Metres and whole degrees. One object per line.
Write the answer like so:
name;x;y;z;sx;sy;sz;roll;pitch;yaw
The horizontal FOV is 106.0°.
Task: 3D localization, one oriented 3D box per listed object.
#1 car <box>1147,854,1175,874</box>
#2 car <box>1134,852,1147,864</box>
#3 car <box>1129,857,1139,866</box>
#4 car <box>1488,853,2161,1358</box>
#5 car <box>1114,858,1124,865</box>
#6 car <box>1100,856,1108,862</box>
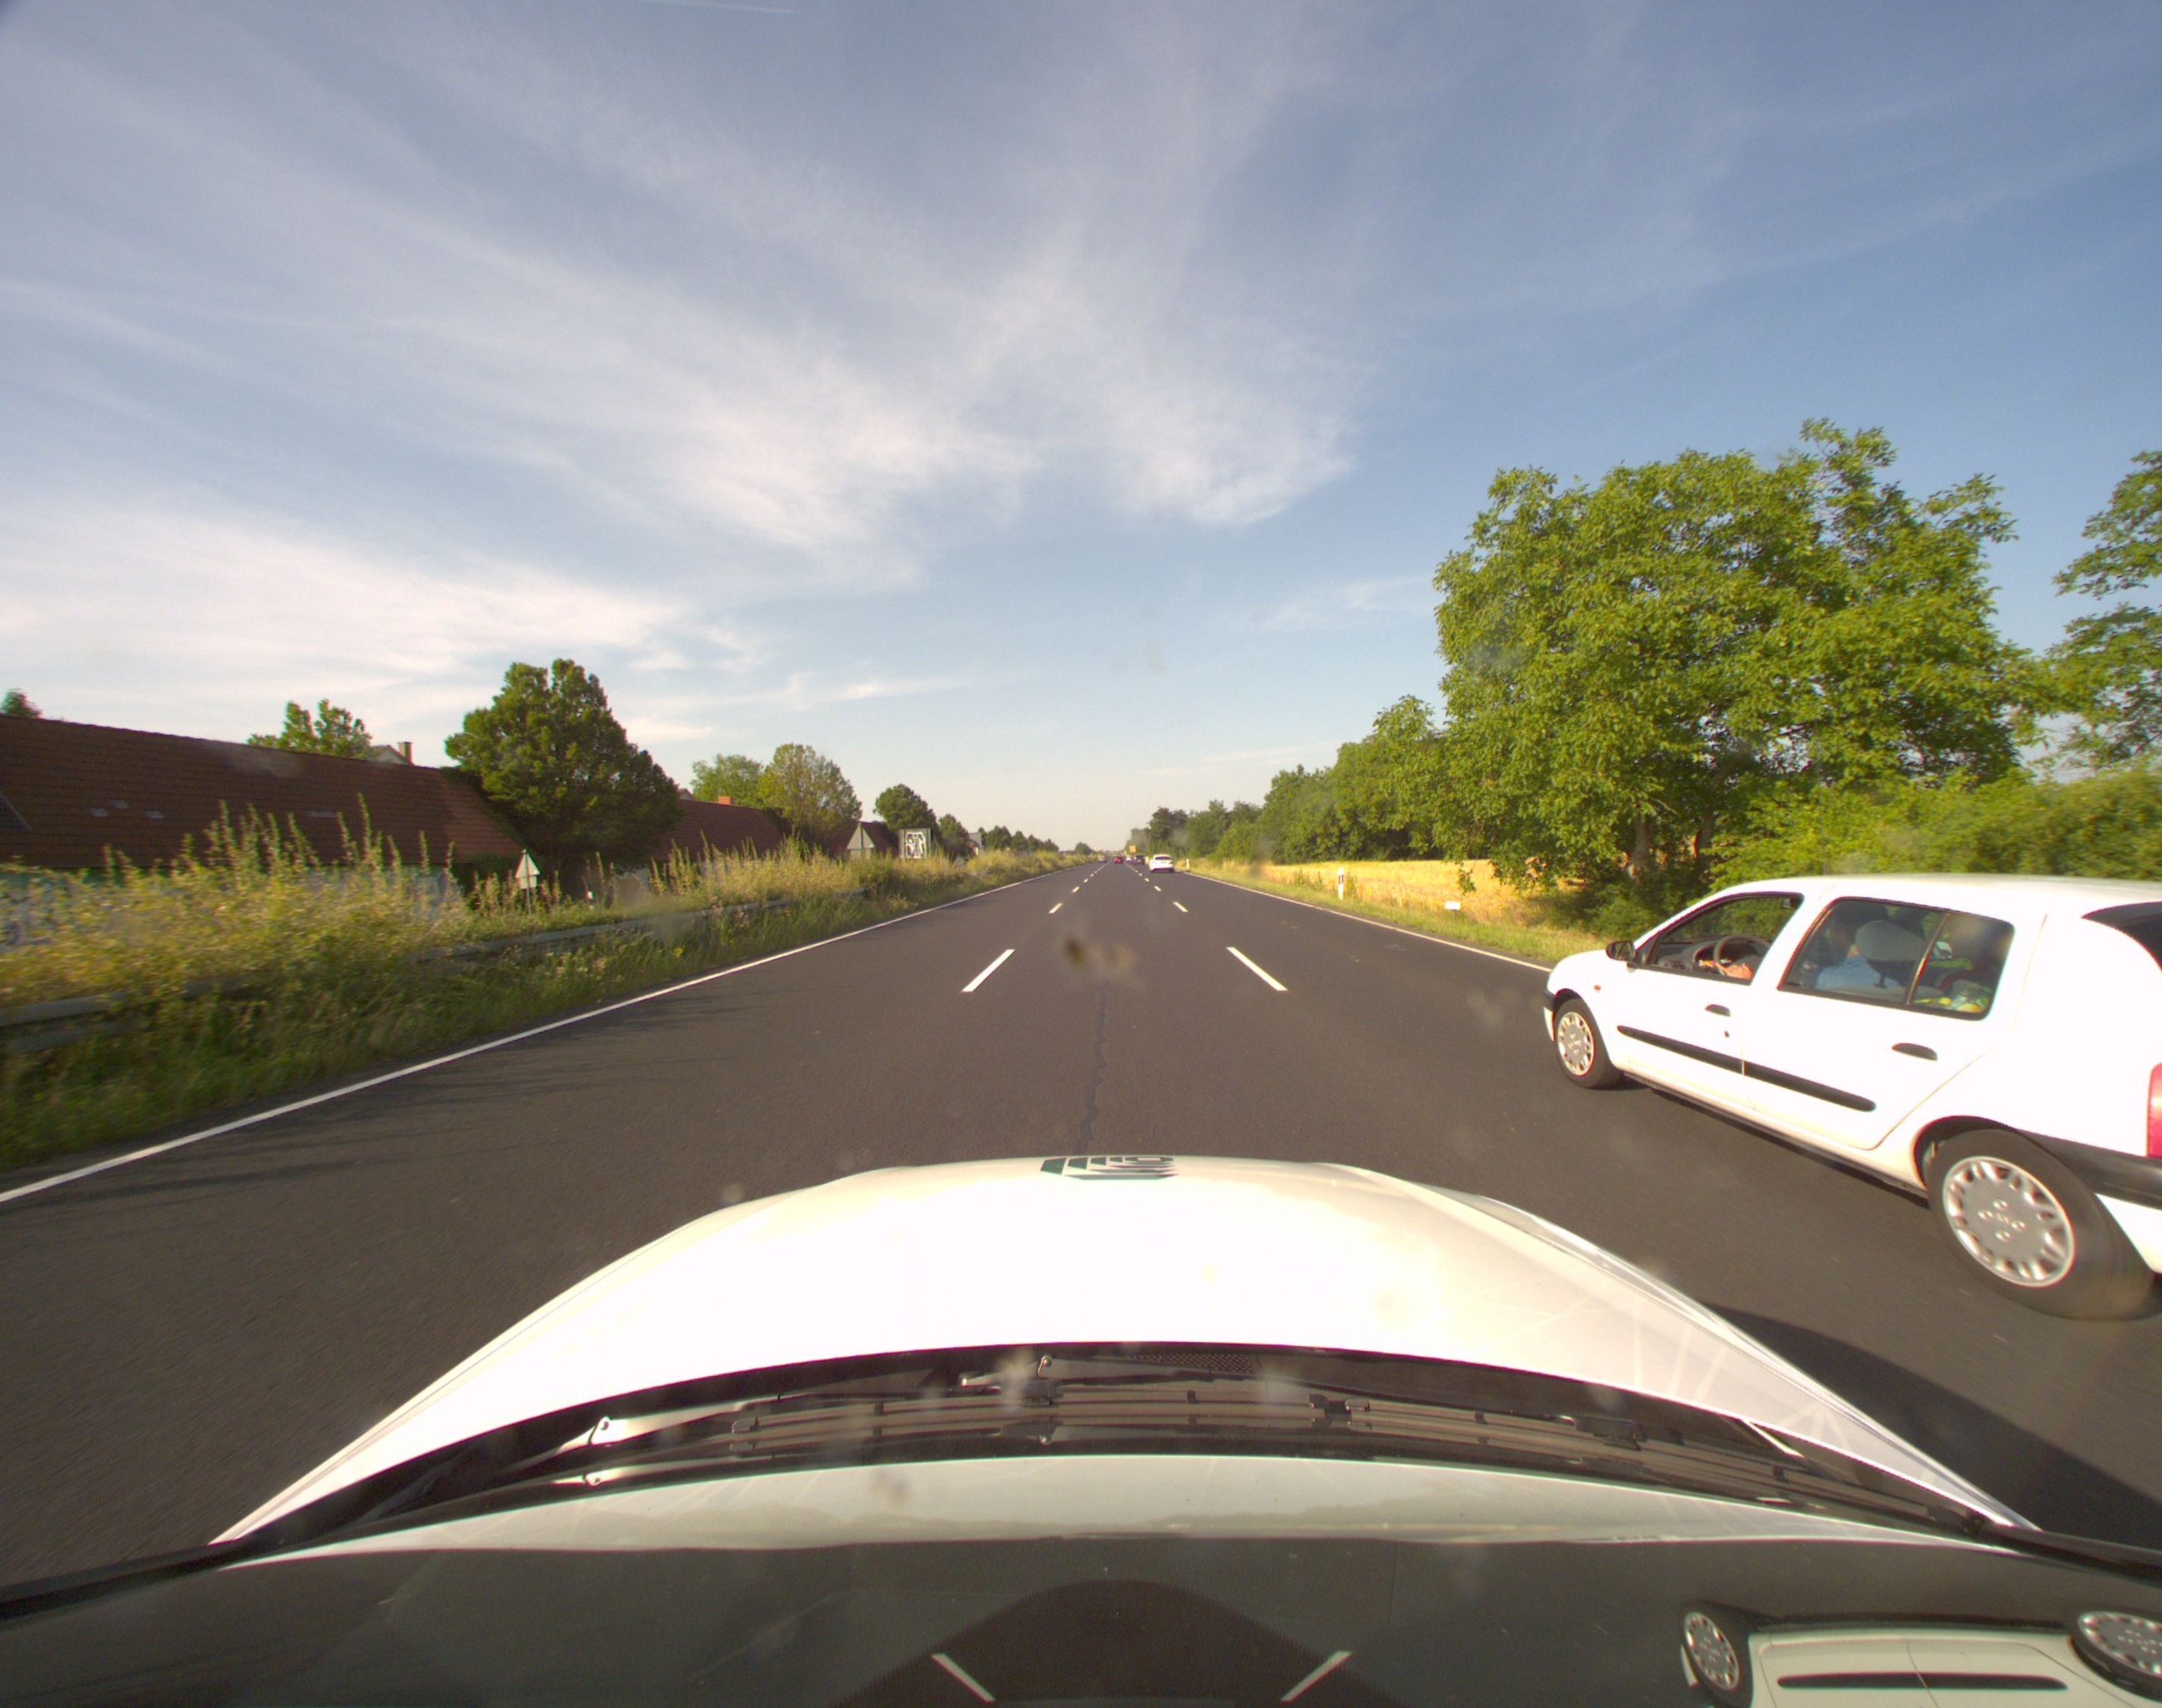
car;6.381;0.778;65.053;1.986;1.516;4.002;0;-1;2
car;9.256;0.667;127.271;1.821;1.728;4.001;0;-1;2
car;10.856;1.492;166.907;1.827;1.717;3.864;0;-1;3
car;3.837;0.717;4.191;1.611;1.387;3.953;0;-1;2
car;7.272;1.467;155.370;1.805;1.436;3.859;0;-1;1
car;5.579;1.224;198.781;1.751;1.618;4.004;0;-1;4
